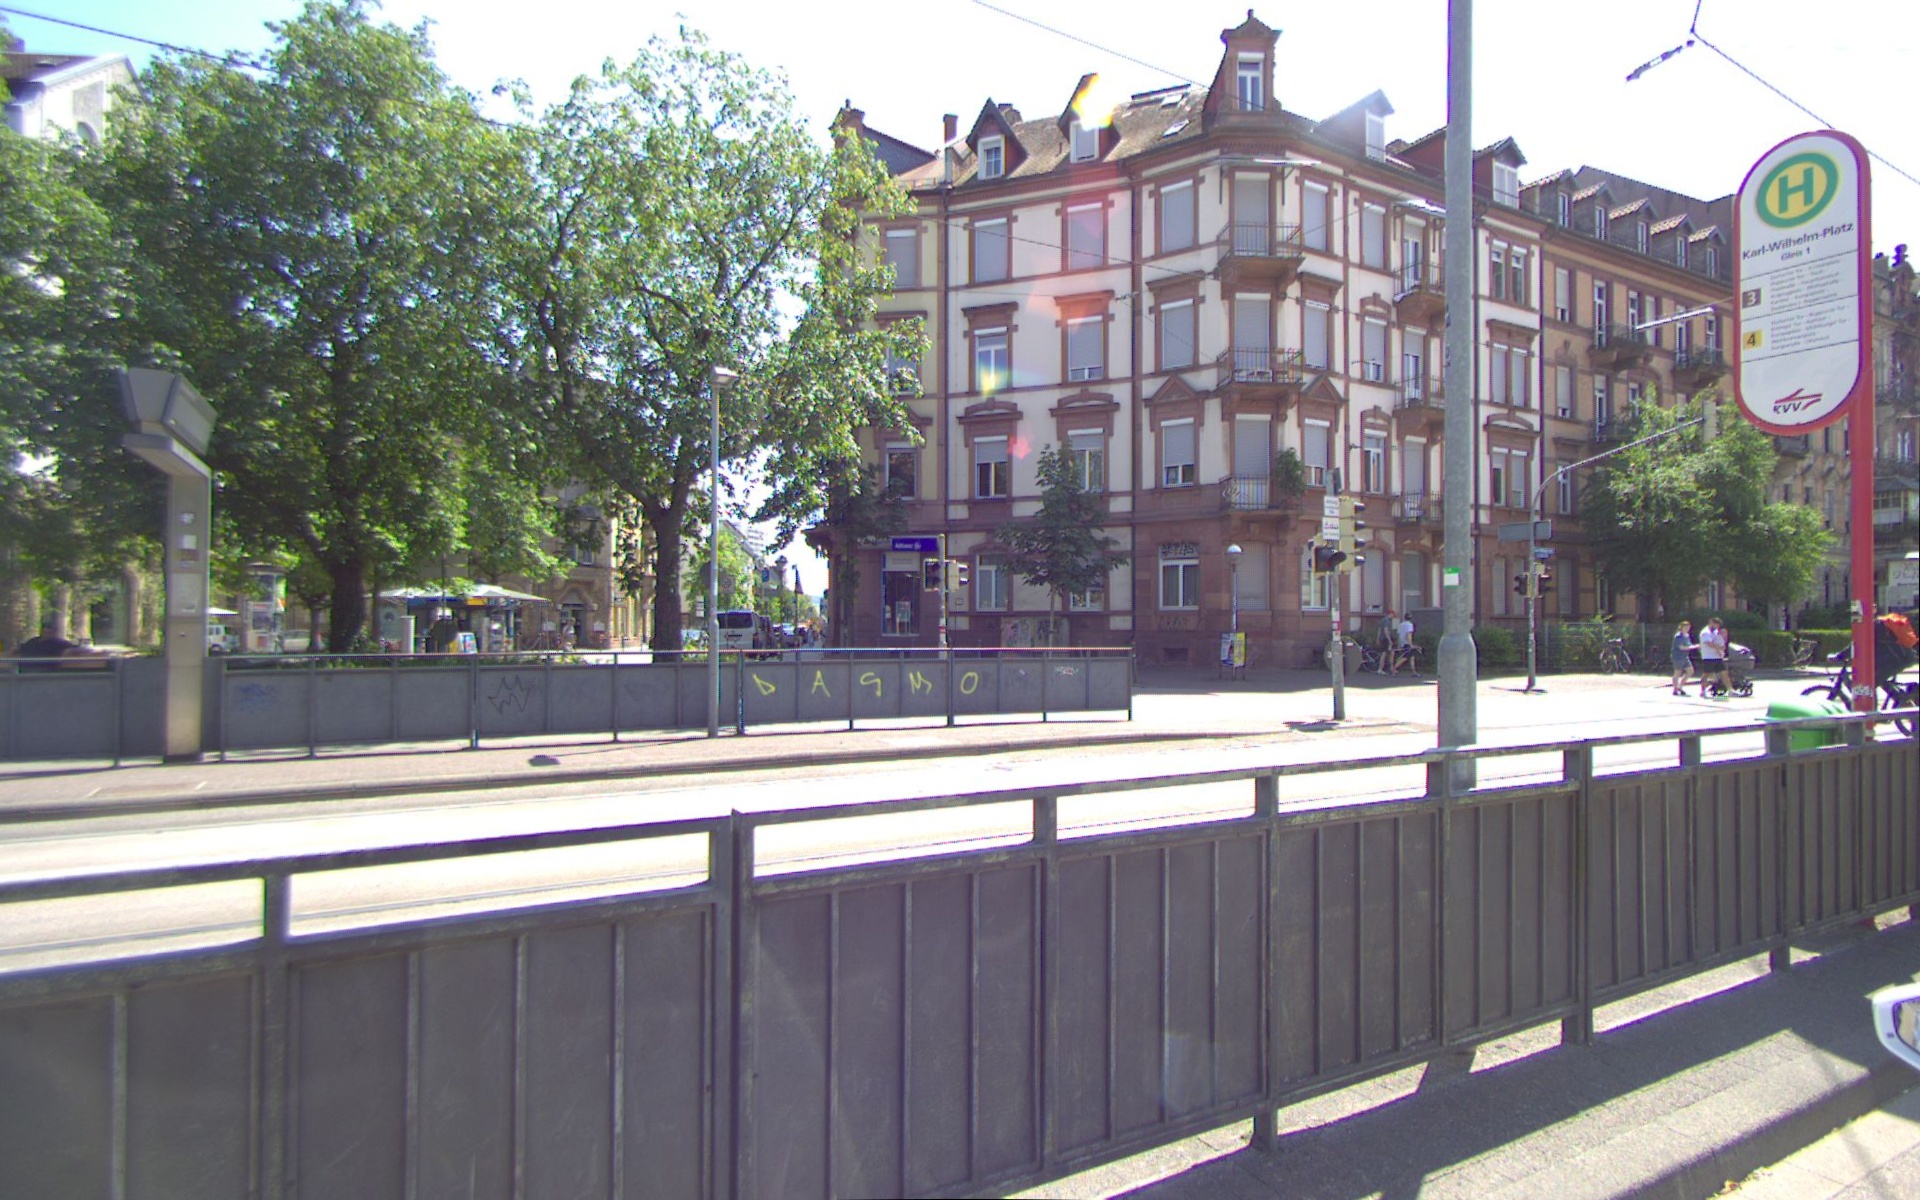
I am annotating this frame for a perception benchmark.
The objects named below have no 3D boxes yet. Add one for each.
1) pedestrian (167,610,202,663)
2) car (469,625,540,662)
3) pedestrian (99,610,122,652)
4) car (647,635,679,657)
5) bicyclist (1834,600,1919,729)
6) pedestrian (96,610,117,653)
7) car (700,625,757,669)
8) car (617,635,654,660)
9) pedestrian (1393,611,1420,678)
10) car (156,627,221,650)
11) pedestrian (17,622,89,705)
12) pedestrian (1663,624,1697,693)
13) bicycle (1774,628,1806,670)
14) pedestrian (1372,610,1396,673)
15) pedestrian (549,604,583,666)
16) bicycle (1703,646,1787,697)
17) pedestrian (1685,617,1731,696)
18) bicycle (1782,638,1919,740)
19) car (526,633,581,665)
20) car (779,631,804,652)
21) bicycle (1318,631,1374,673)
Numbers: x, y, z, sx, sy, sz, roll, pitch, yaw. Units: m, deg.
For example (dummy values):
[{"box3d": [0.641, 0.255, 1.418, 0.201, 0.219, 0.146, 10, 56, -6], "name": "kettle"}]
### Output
[{"box3d": [-26.767, 1.256, 34.680, 0.703, 1.774, 0.616, 1, -1, -6], "name": "pedestrian"}, {"box3d": [-19.153, 1.800, 42.356, 1.512, 1.461, 3.739, 1, -1, -5], "name": "car"}, {"box3d": [-33.197, 1.214, 39.249, 0.554, 1.644, 0.510, 1, -1, -30], "name": "pedestrian"}, {"box3d": [-20.970, 3.227, 71.065, 1.513, 1.461, 3.738, 1, -1, -6], "name": "car"}, {"box3d": [12.272, 0.849, 13.425, 0.570, 1.668, 0.694, 1, -1, -11], "name": "bicyclist"}, {"box3d": [-32.927, 1.208, 38.756, 0.520, 1.644, 0.493, 1, -1, -30], "name": "pedestrian"}, {"box3d": [-8.453, 1.686, 36.911, 1.512, 1.461, 3.739, 1, -1, -5], "name": "car"}, {"box3d": [-20.672, 3.038, 64.082, 1.513, 1.461, 3.738, 1, -1, -6], "name": "car"}, {"box3d": [12.531, 1.228, 28.198, 0.556, 1.849, 0.632, 0, -1, 39], "name": "pedestrian"}, {"box3d": [-31.127, 1.543, 40.537, 0.847, 0.876, 1.910, 0, -1, 35], "name": "car"}, {"box3d": [-14.723, 1.008, 16.314, 0.607, 1.304, 0.646, 1, -1, 21], "name": "pedestrian"}, {"box3d": [16.362, 1.309, 22.822, 0.497, 1.536, 0.469, 1, -1, 18], "name": "pedestrian"}, {"box3d": [28.491, 1.658, 34.500, 0.583, 1.374, 2.434, 0, -1, 34], "name": "bicycle"}, {"box3d": [12.225, 1.200, 28.942, 0.500, 1.791, 0.527, 0, -1, 39], "name": "pedestrian"}, {"box3d": [-13.174, 1.173, 33.598, 0.797, 2.040, 0.716, 0, -1, 9], "name": "pedestrian"}, {"box3d": [17.088, 1.546, 21.884, 1.375, 1.027, 0.389, 1, -1, 21], "name": "bicycle"}, {"box3d": [16.022, 1.205, 21.525, 0.641, 1.637, 0.469, 1, 2, 18], "name": "pedestrian"}, {"box3d": [12.276, 1.157, 13.459, 0.570, 1.253, 2.083, 1, -1, -11], "name": "bicycle"}, {"box3d": [-20.365, 2.423, 50.466, 1.512, 1.461, 3.739, 1, -1, -5], "name": "car"}, {"box3d": [-12.504, 3.042, 74.694, 1.512, 1.461, 3.739, 1, -1, -5], "name": "car"}, {"box3d": [11.452, 1.525, 29.842, 1.494, 1.185, 0.364, 1, 0, 34], "name": "bicycle"}]
